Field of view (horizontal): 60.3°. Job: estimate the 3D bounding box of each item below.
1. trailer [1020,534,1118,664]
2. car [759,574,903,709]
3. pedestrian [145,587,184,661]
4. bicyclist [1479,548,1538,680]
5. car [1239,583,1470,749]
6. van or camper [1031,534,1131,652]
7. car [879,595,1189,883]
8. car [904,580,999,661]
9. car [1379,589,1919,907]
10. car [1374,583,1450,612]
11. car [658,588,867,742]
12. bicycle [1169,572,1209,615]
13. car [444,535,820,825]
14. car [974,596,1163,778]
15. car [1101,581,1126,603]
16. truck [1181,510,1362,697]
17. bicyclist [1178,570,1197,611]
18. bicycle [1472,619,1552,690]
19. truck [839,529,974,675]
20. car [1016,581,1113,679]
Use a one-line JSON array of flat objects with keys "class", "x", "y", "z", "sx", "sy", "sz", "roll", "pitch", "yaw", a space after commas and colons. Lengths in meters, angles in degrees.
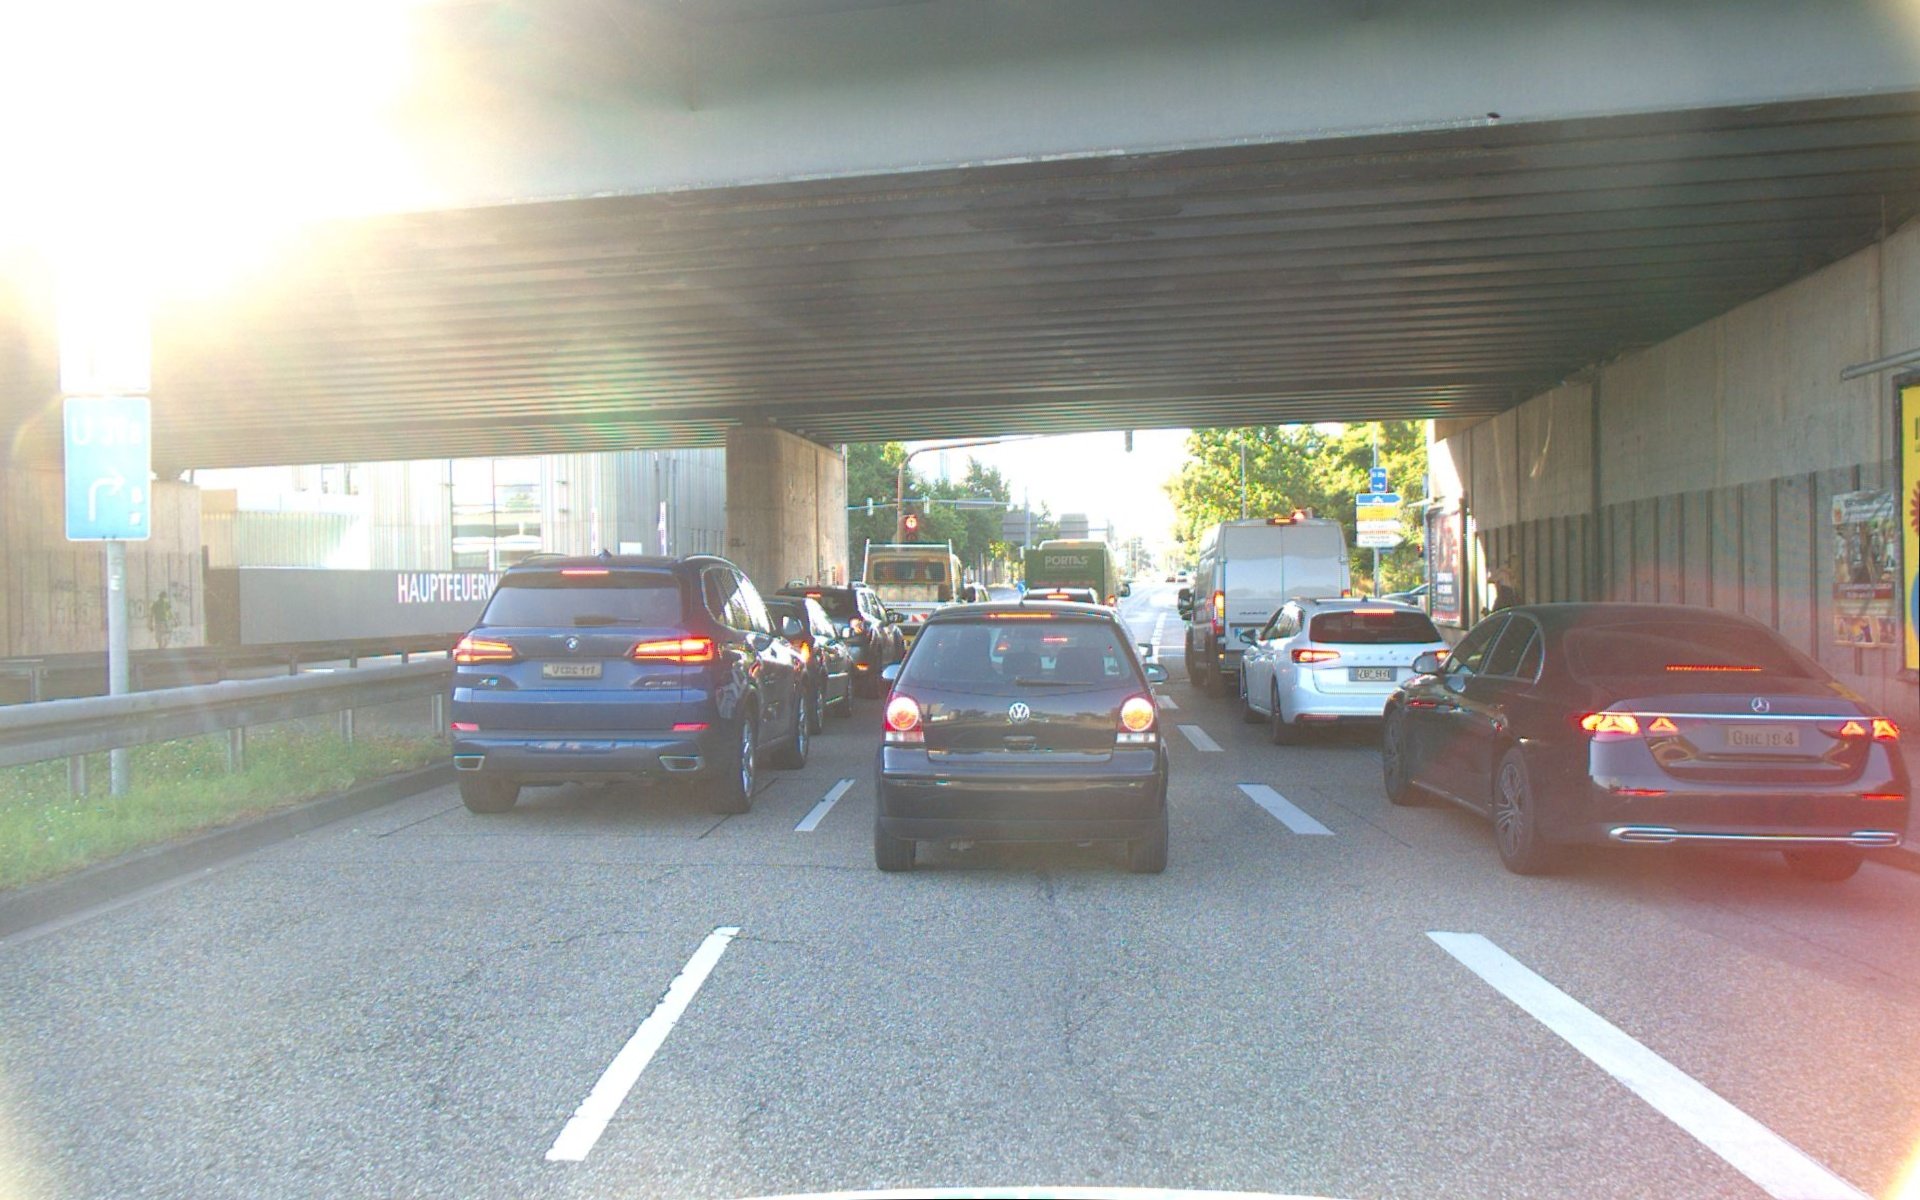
[{"class": "trailer", "x": 2.320, "y": 0.003, "z": 34.539, "sx": 1.824, "sy": 2.508, "sz": 3.834, "roll": -2, "pitch": -1, "yaw": 6}, {"class": "car", "x": -1.860, "y": 0.594, "z": 24.972, "sx": 1.804, "sy": 1.749, "sz": 3.999, "roll": -4, "pitch": -1, "yaw": -1}, {"class": "pedestrian", "x": -20.993, "y": 0.633, "z": 43.661, "sx": 0.679, "sy": 1.937, "sz": 0.665, "roll": -1, "pitch": -1, "yaw": 6}, {"class": "bicyclist", "x": 8.169, "y": 0.210, "z": 24.673, "sx": 0.667, "sy": 1.940, "sz": 0.834, "roll": -1, "pitch": -1, "yaw": 8}, {"class": "car", "x": 4.058, "y": 0.649, "z": 17.597, "sx": 1.735, "sy": 1.521, "sz": 3.833, "roll": -2, "pitch": -1, "yaw": 4}, {"class": "van or camper", "x": 3.007, "y": -0.123, "z": 39.942, "sx": 1.951, "sy": 2.615, "sz": 5.922, "roll": -1, "pitch": -1, "yaw": 8}, {"class": "car", "x": 0.378, "y": 0.723, "z": 10.185, "sx": 1.549, "sy": 1.433, "sz": 3.831, "roll": 0, "pitch": -1, "yaw": 0}, {"class": "car", "x": -0.172, "y": 0.527, "z": 41.910, "sx": 1.951, "sy": 1.934, "sz": 4.002, "roll": -1, "pitch": -1, "yaw": 6}, {"class": "car", "x": 3.971, "y": 0.700, "z": 10.252, "sx": 1.704, "sy": 1.480, "sz": 4.607, "roll": 0, "pitch": 1, "yaw": 2}, {"class": "car", "x": 17.889, "y": -0.093, "z": 65.483, "sx": 2.762, "sy": 1.100, "sz": 1.219, "roll": -1, "pitch": -1, "yaw": 8}, {"class": "car", "x": -2.147, "y": 0.691, "z": 18.945, "sx": 1.803, "sy": 1.465, "sz": 3.676, "roll": -4, "pitch": -1, "yaw": 1}, {"class": "bicycle", "x": 11.631, "y": -0.344, "z": 84.029, "sx": 1.838, "sy": 2.048, "sz": 0.571, "roll": -4, "pitch": -1, "yaw": 7}, {"class": "car", "x": -2.228, "y": 0.523, "z": 12.477, "sx": 1.791, "sy": 1.769, "sz": 4.462, "roll": -1, "pitch": -1, "yaw": 2}, {"class": "car", "x": 0.987, "y": 0.717, "z": 15.345, "sx": 1.515, "sy": 1.448, "sz": 3.418, "roll": -2, "pitch": 0, "yaw": 3}, {"class": "car", "x": 10.058, "y": -0.534, "z": 108.544, "sx": 1.312, "sy": 1.304, "sz": 2.893, "roll": -4, "pitch": -1, "yaw": 0}, {"class": "truck", "x": 4.682, "y": 0.070, "z": 25.521, "sx": 2.067, "sy": 2.563, "sz": 4.402, "roll": -2, "pitch": -1, "yaw": 3}, {"class": "bicyclist", "x": 11.559, "y": -0.487, "z": 84.037, "sx": 0.810, "sy": 2.048, "sz": 0.683, "roll": -4, "pitch": -1, "yaw": 7}, {"class": "bicycle", "x": 8.178, "y": 0.784, "z": 24.628, "sx": 0.566, "sy": 0.980, "sz": 2.888, "roll": -1, "pitch": -1, "yaw": 7}, {"class": "truck", "x": -0.942, "y": 0.072, "z": 32.502, "sx": 1.985, "sy": 2.601, "sz": 5.540, "roll": -1, "pitch": -1, "yaw": 5}, {"class": "car", "x": 1.807, "y": 0.508, "z": 28.402, "sx": 1.548, "sy": 1.559, "sz": 3.833, "roll": 0, "pitch": -1, "yaw": 4}]
